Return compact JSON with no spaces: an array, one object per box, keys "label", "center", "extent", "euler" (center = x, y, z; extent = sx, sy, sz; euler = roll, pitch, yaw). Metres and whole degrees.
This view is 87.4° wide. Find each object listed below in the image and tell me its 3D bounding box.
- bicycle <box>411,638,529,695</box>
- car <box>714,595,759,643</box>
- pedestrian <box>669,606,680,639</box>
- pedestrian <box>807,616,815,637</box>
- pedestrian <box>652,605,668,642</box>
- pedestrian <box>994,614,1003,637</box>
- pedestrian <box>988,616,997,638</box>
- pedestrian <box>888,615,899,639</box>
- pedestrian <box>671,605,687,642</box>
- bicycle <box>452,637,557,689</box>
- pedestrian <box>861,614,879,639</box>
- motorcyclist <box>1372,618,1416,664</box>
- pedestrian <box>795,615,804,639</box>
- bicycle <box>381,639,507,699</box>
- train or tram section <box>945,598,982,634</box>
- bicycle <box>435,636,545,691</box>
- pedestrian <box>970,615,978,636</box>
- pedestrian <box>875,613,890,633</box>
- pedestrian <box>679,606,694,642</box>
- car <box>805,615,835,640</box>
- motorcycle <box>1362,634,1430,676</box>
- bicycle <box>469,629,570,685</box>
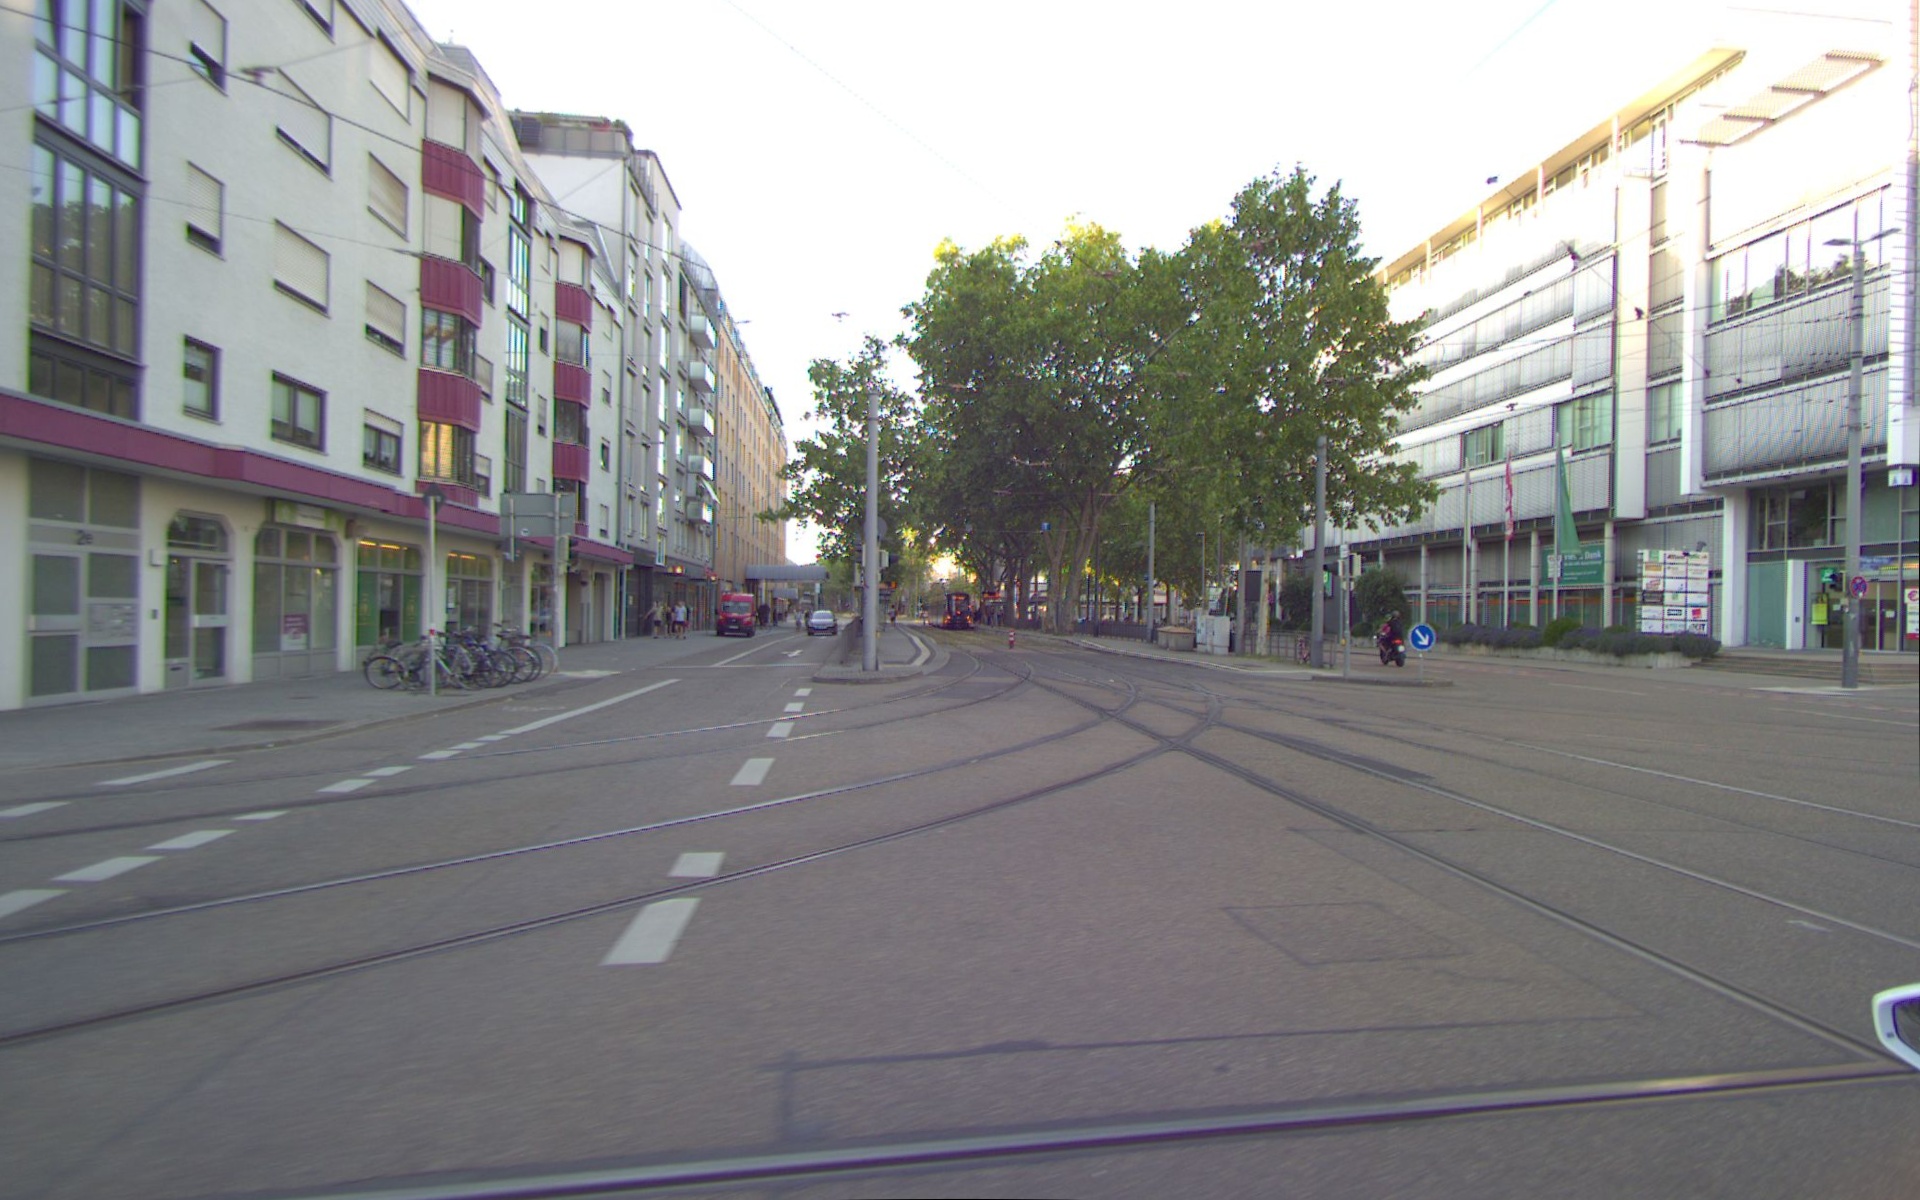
[{"label":"bicycle","center":[-8.936,1.201,18.354],"extent":[1.805,0.970,0.674],"euler":[1,0,-1]},{"label":"car","center":[-12.925,1.099,58.458],"extent":[2.056,2.585,5.442],"euler":[1,-1,-8]},{"label":"pedestrian","center":[-15.398,1.217,54.230],"extent":[0.539,1.799,0.652],"euler":[1,0,-17]},{"label":"pedestrian","center":[-12.743,2.286,85.792],"extent":[0.642,1.799,0.547],"euler":[1,0,-9]},{"label":"pedestrian","center":[-14.576,1.139,48.823],"extent":[0.642,1.799,0.547],"euler":[1,0,-9]},{"label":"pedestrian","center":[3.265,2.148,84.758],"extent":[0.724,1.924,0.640],"euler":[1,0,-2]},{"label":"pedestrian","center":[2.865,2.343,87.594],"extent":[0.724,1.924,0.640],"euler":[1,0,-2]},{"label":"pedestrian","center":[-4.804,1.942,72.822],"extent":[0.745,1.701,0.833],"euler":[1,0,-4]},{"label":"pedestrian","center":[-13.590,1.129,48.621],"extent":[0.642,1.799,0.547],"euler":[1,0,-9]},{"label":"bicycle","center":[-8.948,1.229,19.766],"extent":[1.805,0.970,0.499],"euler":[1,0,-1]},{"label":"pedestrian","center":[-4.877,1.419,54.314],"extent":[0.764,1.310,0.733],"euler":[1,0,14]},{"label":"motorcyclist","center":[14.281,1.341,33.096],"extent":[0.816,1.493,1.205],"euler":[1,0,-9]},{"label":"pedestrian","center":[-12.267,2.076,76.691],"extent":[0.642,1.799,0.547],"euler":[1,0,-9]},{"label":"bicycle","center":[-8.961,1.187,17.486],"extent":[1.805,0.970,0.674],"euler":[1,0,-1]},{"label":"train or tram section","center":[0.195,1.529,96.638],"extent":[2.995,3.212,13.487],"euler":[1,-1,-2]},{"label":"bicycle","center":[-8.938,1.201,19.141],"extent":[1.805,0.970,0.596],"euler":[1,0,-1]},{"label":"pedestrian","center":[1.317,2.388,93.988],"extent":[0.724,1.924,0.640],"euler":[1,0,-2]},{"label":"pedestrian","center":[-5.080,1.482,65.916],"extent":[0.764,1.310,0.733],"euler":[1,0,14]},{"label":"pedestrian","center":[-13.592,1.196,49.890],"extent":[0.642,1.799,0.547],"euler":[1,0,-9]},{"label":"car","center":[-8.782,1.698,63.069],"extent":[1.753,1.476,3.995],"euler":[1,-1,-8]},{"label":"motorcycle","center":[14.284,1.795,32.993],"extent":[0.816,1.256,2.487],"euler":[1,0,-9]},{"label":"bicycle","center":[-8.926,1.153,20.400],"extent":[1.805,1.075,0.499],"euler":[1,0,-1]}]
